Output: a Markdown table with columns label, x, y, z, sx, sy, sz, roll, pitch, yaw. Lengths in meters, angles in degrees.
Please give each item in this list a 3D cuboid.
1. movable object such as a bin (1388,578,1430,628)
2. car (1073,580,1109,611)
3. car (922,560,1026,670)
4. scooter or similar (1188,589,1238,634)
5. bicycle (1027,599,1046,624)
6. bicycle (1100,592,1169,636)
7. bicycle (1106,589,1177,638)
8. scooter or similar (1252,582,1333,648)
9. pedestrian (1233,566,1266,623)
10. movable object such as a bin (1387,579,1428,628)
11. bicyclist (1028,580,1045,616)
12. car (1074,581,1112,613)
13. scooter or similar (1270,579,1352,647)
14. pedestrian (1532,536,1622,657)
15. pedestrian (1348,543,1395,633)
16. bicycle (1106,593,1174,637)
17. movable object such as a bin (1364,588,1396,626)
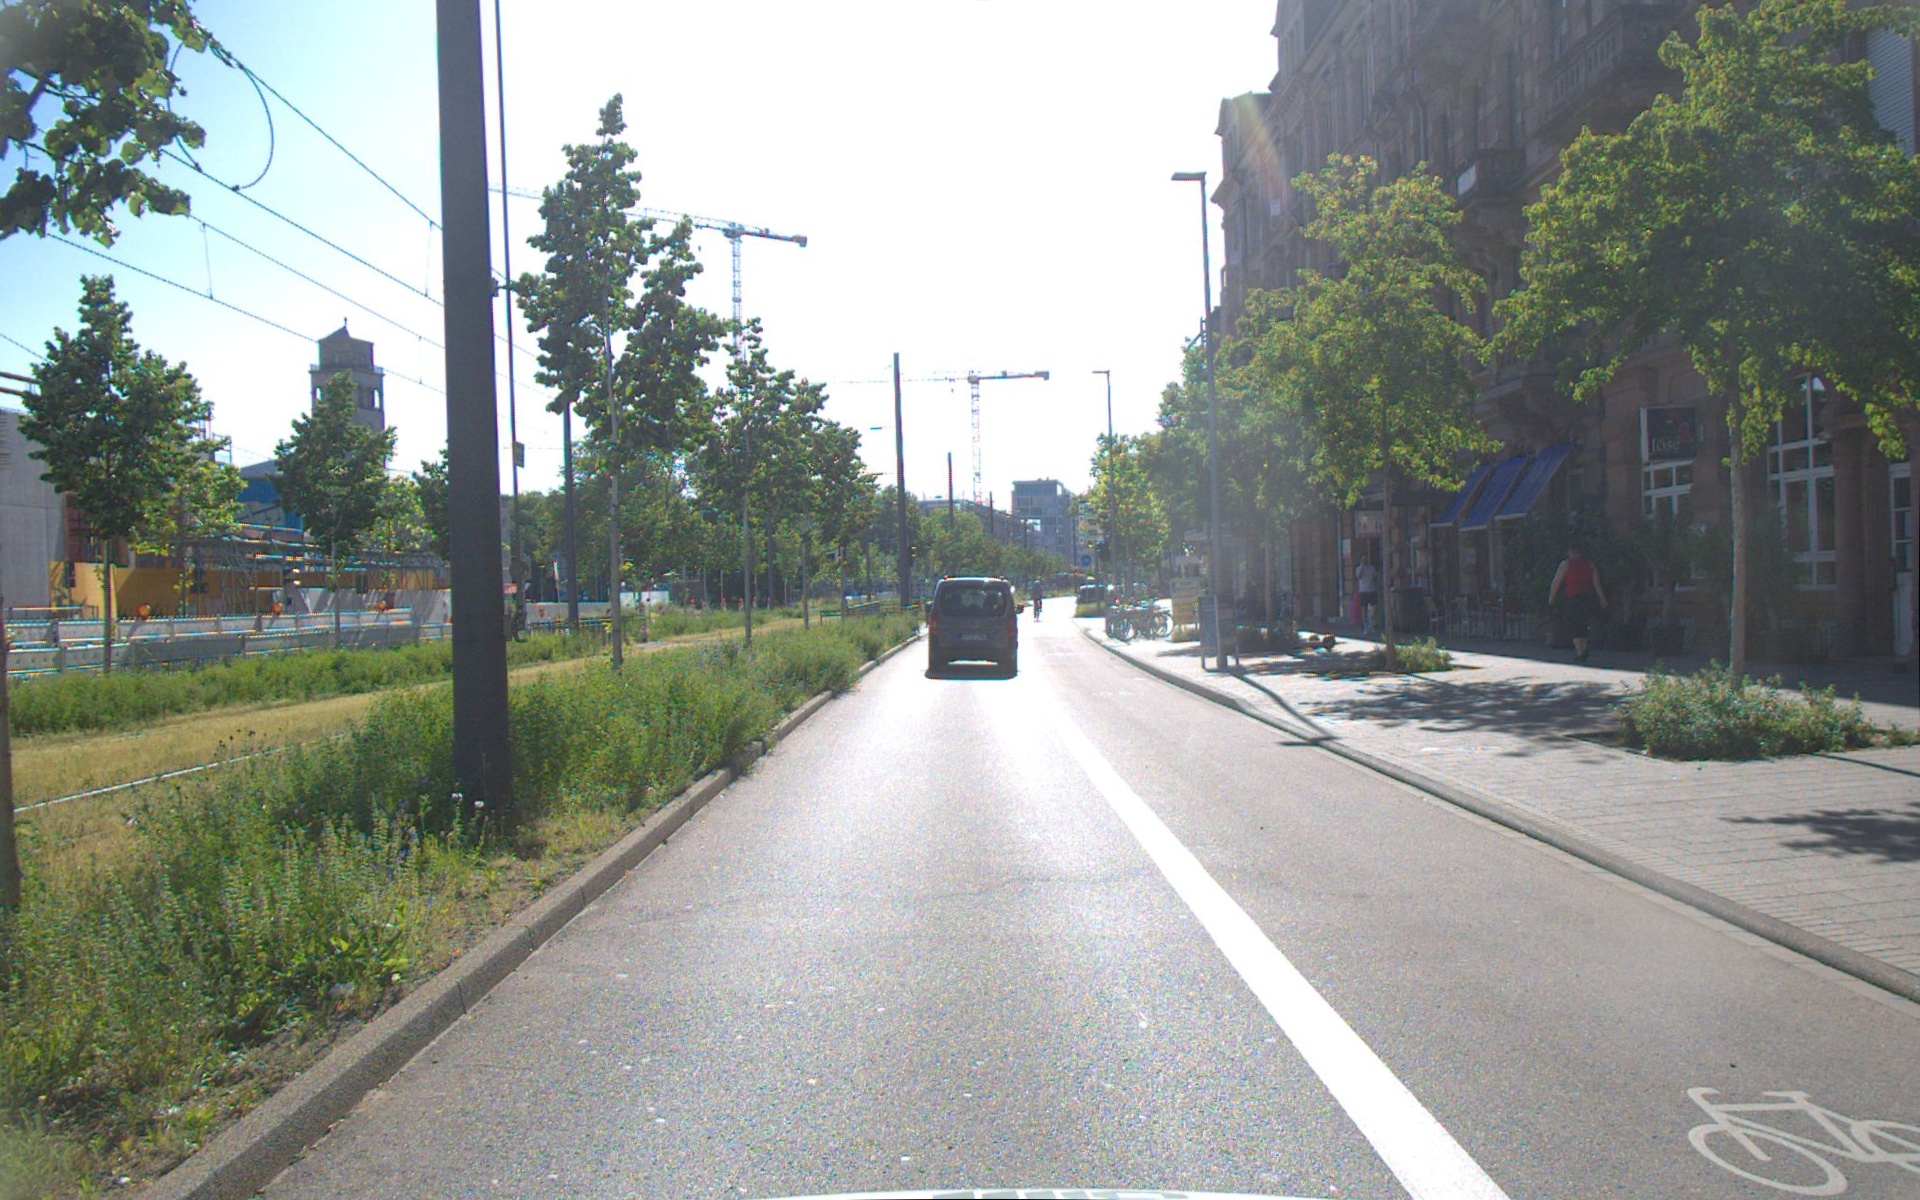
| label | x | y | z | sx | sy | sz | roll | pitch | yaw |
| --- | --- | --- | --- | --- | --- | --- | --- | --- | --- |
| movable object such as a bin | 10.451 | 0.067 | 38.523 | 0.711 | 1.117 | 0.747 | -2 | 0 | -5 |
| car | 7.537 | -0.234 | 95.210 | 1.979 | 1.752 | 4.121 | -1 | 0 | 5 |
| car | 0.325 | 0.295 | 33.382 | 1.952 | 2.049 | 4.001 | -1 | 0 | 2 |
| scooter or similar | 6.699 | 0.299 | 43.857 | 1.194 | 1.125 | 0.783 | -3 | 1 | 2 |
| bicycle | 3.478 | 0.506 | 75.117 | 0.687 | 1.110 | 2.277 | -2 | 0 | -1 |
| bicycle | 5.242 | 0.419 | 49.744 | 1.879 | 1.140 | 0.664 | -5 | 0 | -7 |
| bicycle | 5.119 | 0.380 | 46.691 | 1.843 | 1.255 | 0.499 | -4 | 0 | -6 |
| scooter or similar | 6.813 | 0.304 | 33.878 | 1.447 | 1.237 | 0.600 | -4 | 1 | -11 |
| pedestrian | 9.327 | -0.176 | 53.288 | 0.827 | 1.772 | 0.886 | -3 | -1 | 0 |
| movable object such as a bin | 10.633 | 0.078 | 39.293 | 0.711 | 1.117 | 0.747 | -2 | 0 | -5 |
| bicyclist | 3.464 | -0.105 | 75.105 | 0.669 | 1.612 | 0.839 | -1 | 0 | -1 |
| car | 7.142 | -0.153 | 88.889 | 1.946 | 1.666 | 4.191 | -1 | 0 | 5 |
| scooter or similar | 7.025 | 0.259 | 33.118 | 1.445 | 1.237 | 0.601 | -4 | 1 | -4 |
| pedestrian | 9.188 | -0.054 | 24.659 | 0.976 | 1.762 | 0.866 | -1 | -1 | -1 |
| pedestrian | 9.661 | -0.267 | 38.866 | 0.801 | 2.049 | 1.046 | -1 | -2 | -1 |
| bicycle | 5.237 | 0.437 | 48.227 | 1.790 | 1.097 | 0.664 | -5 | 0 | -7 |
| movable object such as a bin | 10.610 | 0.180 | 41.825 | 0.592 | 0.932 | 0.650 | -2 | 0 | -5 |
